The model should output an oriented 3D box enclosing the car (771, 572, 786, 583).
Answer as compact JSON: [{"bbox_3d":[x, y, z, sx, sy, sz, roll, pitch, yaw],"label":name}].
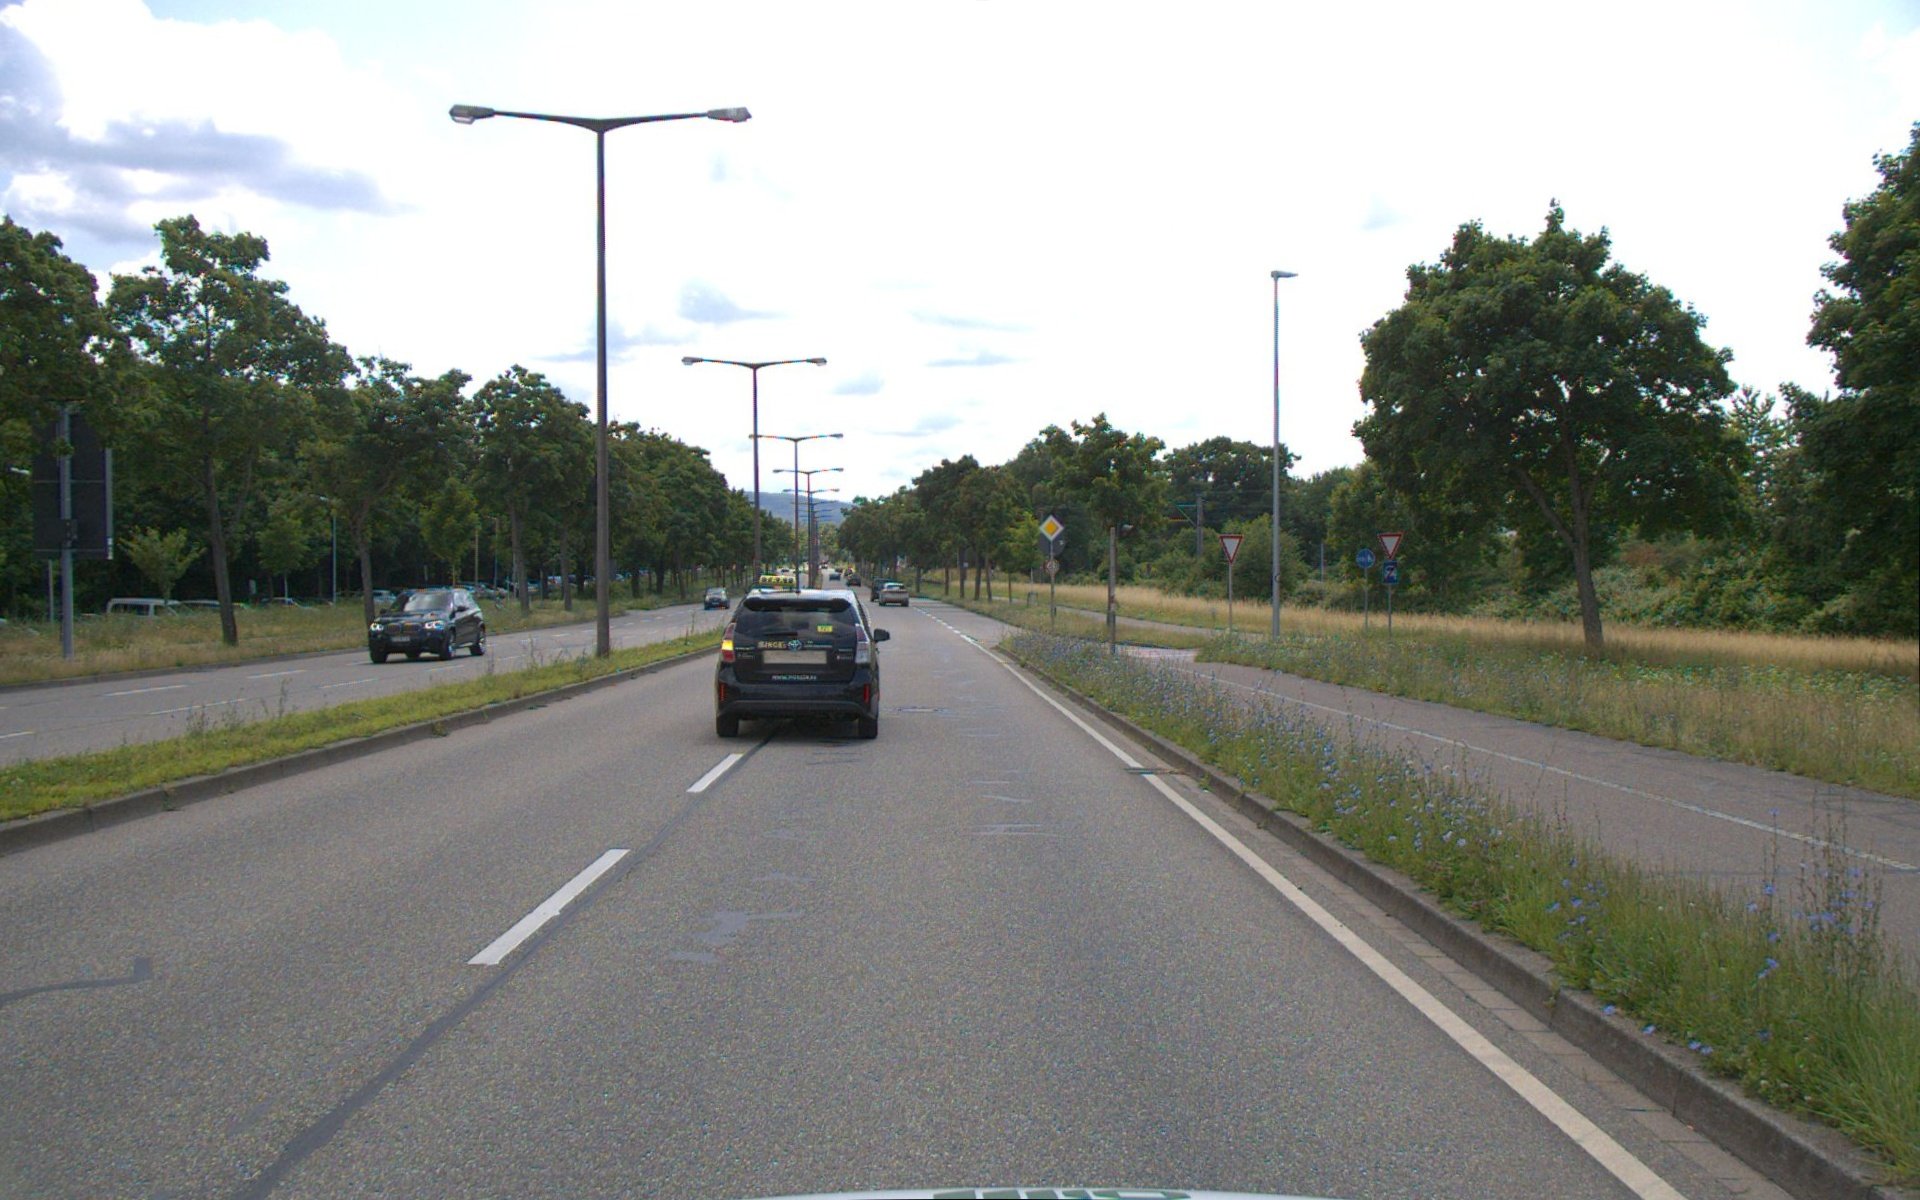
[{"bbox_3d":[-27.513,-3.376,250.650,1.841,1.534,3.797,1,1,-1],"label":"car"}]

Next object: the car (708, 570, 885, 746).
[{"bbox_3d":[-1.766,0.554,18.636,1.744,1.713,3.998,1,1,-4],"label":"car"}]

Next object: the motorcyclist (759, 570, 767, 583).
[{"bbox_3d":[-21.637,-2.575,181.663,0.810,1.438,1.328,1,1,-4],"label":"motorcyclist"}]

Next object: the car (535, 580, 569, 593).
[{"bbox_3d":[-50.307,-1.670,204.048,3.707,1.412,1.786,1,1,0],"label":"car"}]

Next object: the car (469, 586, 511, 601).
[{"bbox_3d":[-47.315,-0.667,166.656,3.707,1.412,1.786,1,1,0],"label":"car"}]

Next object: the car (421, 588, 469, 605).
[{"bbox_3d":[-46.047,-0.344,148.013,3.707,1.412,1.786,1,1,0],"label":"car"}]

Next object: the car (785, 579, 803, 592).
[{"bbox_3d":[-18.280,-1.611,182.079,1.775,1.422,4.730,0,1,-4],"label":"car"}]

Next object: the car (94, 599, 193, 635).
[{"bbox_3d":[-40.571,0.833,82.269,3.910,1.653,1.998,1,1,-6],"label":"car"}]

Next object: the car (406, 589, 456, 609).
[{"bbox_3d":[-45.513,-0.111,142.418,3.707,1.595,1.786,1,1,0],"label":"car"}]

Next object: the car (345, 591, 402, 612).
[{"bbox_3d":[-44.189,0.135,124.624,3.710,1.453,1.784,1,1,-4],"label":"car"}]

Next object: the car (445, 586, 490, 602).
[{"bbox_3d":[-46.983,-0.593,157.717,3.707,1.412,1.786,1,1,0],"label":"car"}]

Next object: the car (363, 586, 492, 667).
[{"bbox_3d":[-13.234,0.621,41.410,1.839,1.821,4.726,-2,0,-3],"label":"car"}]

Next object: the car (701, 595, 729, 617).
[{"bbox_3d":[-16.900,0.405,114.064,1.671,1.452,3.663,0,0,-12],"label":"car"}]

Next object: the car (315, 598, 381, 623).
[{"bbox_3d":[-40.518,0.710,109.483,3.709,1.534,1.785,1,1,-3],"label":"car"}]

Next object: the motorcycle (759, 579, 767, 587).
[{"bbox_3d":[-21.630,-1.870,181.759,0.737,0.785,2.670,1,1,-3],"label":"motorcycle"}]

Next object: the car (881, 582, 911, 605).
[{"bbox_3d":[-4.735,-0.472,121.226,1.955,1.534,3.996,1,1,-6],"label":"car"}]

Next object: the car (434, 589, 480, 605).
[{"bbox_3d":[-46.154,-0.282,151.827,3.707,1.412,1.786,1,1,0],"label":"car"}]

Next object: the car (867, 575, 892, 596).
[{"bbox_3d":[-6.602,-1.196,135.096,1.954,1.691,3.998,1,1,-3],"label":"car"}]
